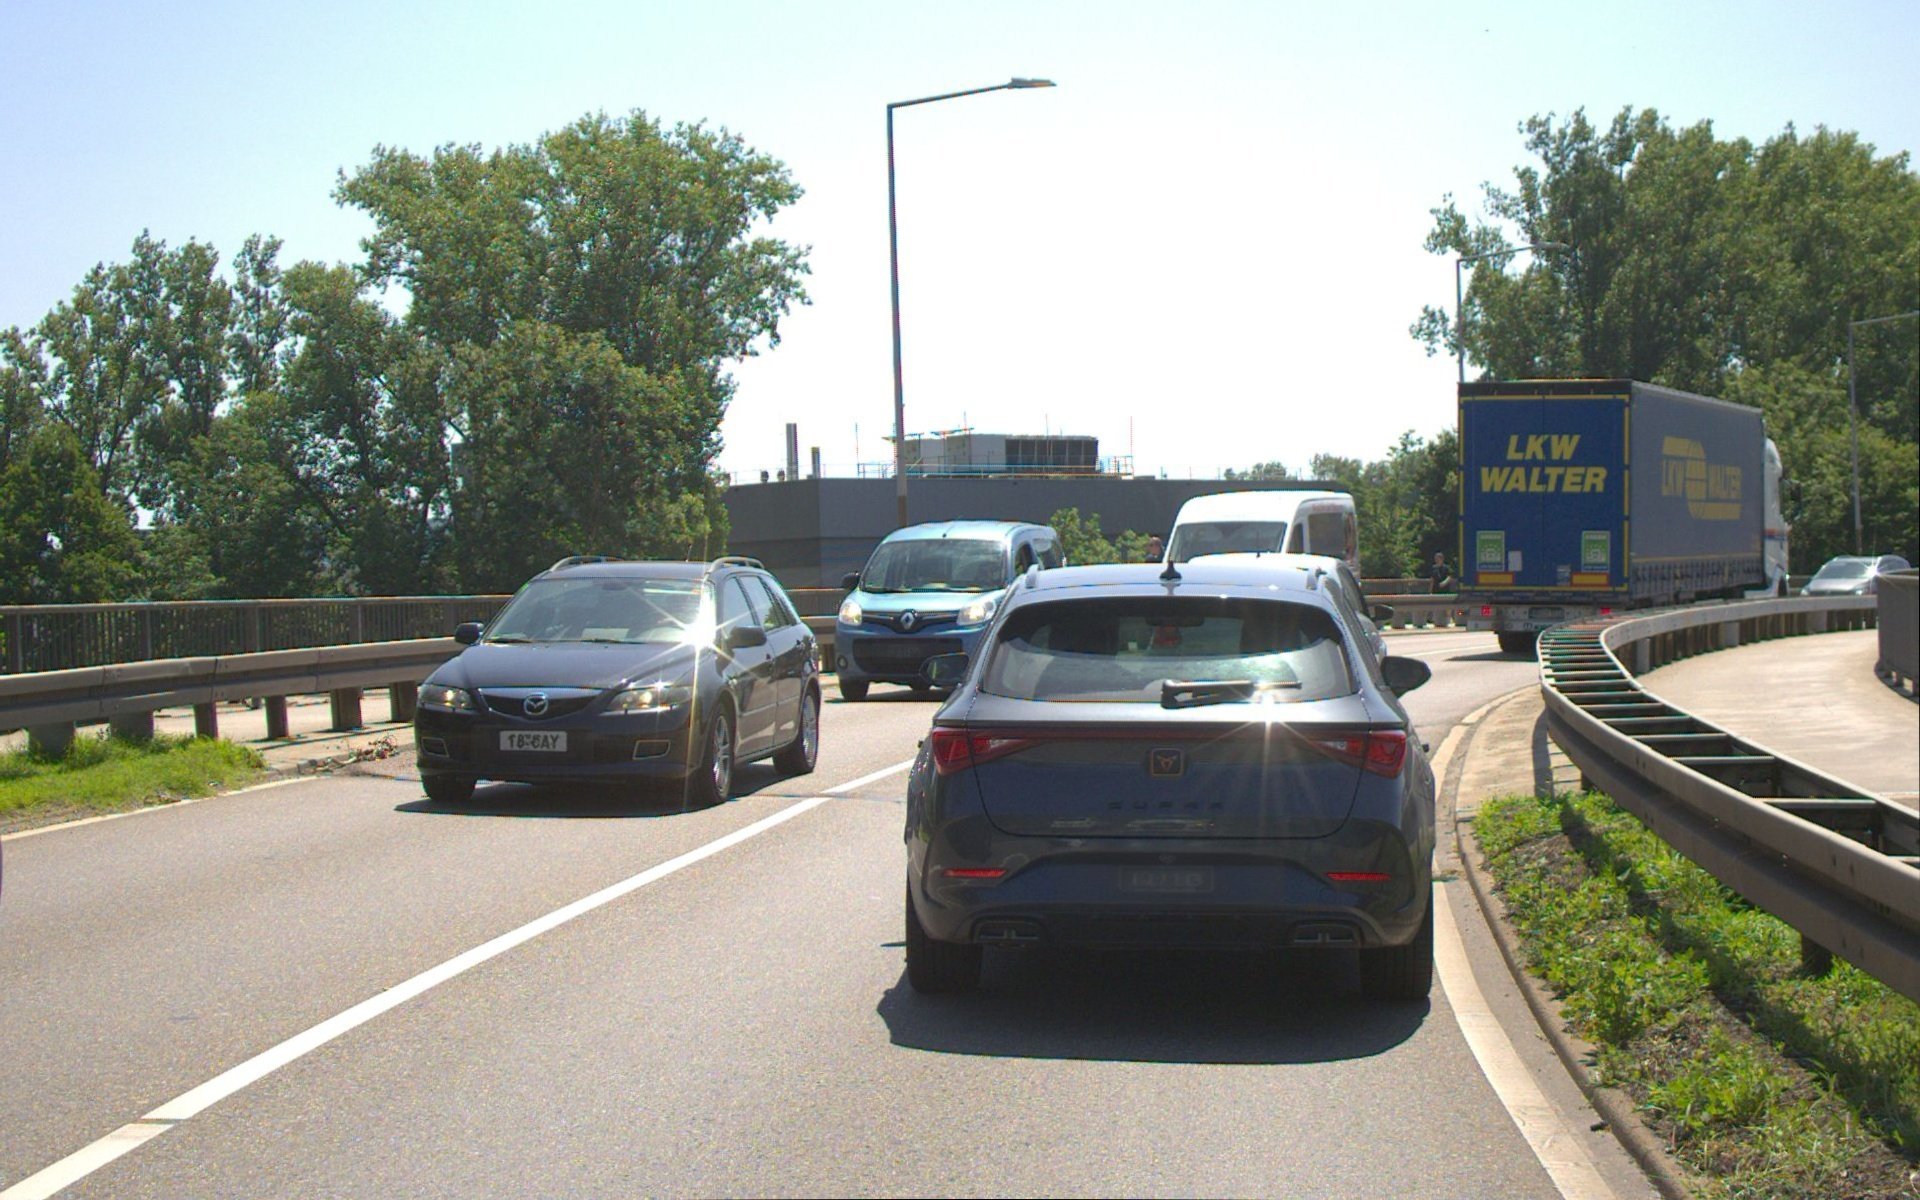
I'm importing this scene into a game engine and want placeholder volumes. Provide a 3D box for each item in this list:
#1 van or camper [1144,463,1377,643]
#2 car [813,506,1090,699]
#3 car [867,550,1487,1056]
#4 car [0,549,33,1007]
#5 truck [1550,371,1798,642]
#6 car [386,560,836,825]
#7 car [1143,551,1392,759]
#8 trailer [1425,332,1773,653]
[{"bbox_3d":[4.582,-0.737,51.516,2.050,2.529,5.878,0,1,19],"label":"van or camper"},{"bbox_3d":[-0.017,0.003,35.470,1.758,1.848,4.272,1,1,15],"label":"car"},{"bbox_3d":[0.670,0.581,12.211,1.845,1.493,3.758,1,1,1],"label":"car"},{"bbox_3d":[-3.968,0.580,8.997,1.716,1.423,4.107,0,1,4],"label":"car"},{"bbox_3d":[12.964,-1.594,61.939,3.173,4.569,7.388,1,0,21],"label":"truck"},{"bbox_3d":[-2.029,0.489,21.383,1.757,1.437,4.567,1,1,8],"label":"car"},{"bbox_3d":[2.446,0.384,26.703,1.594,1.456,3.543,2,1,10],"label":"car"},{"bbox_3d":[10.686,-1.594,55.999,3.137,4.598,12.934,2,1,21],"label":"trailer"}]
